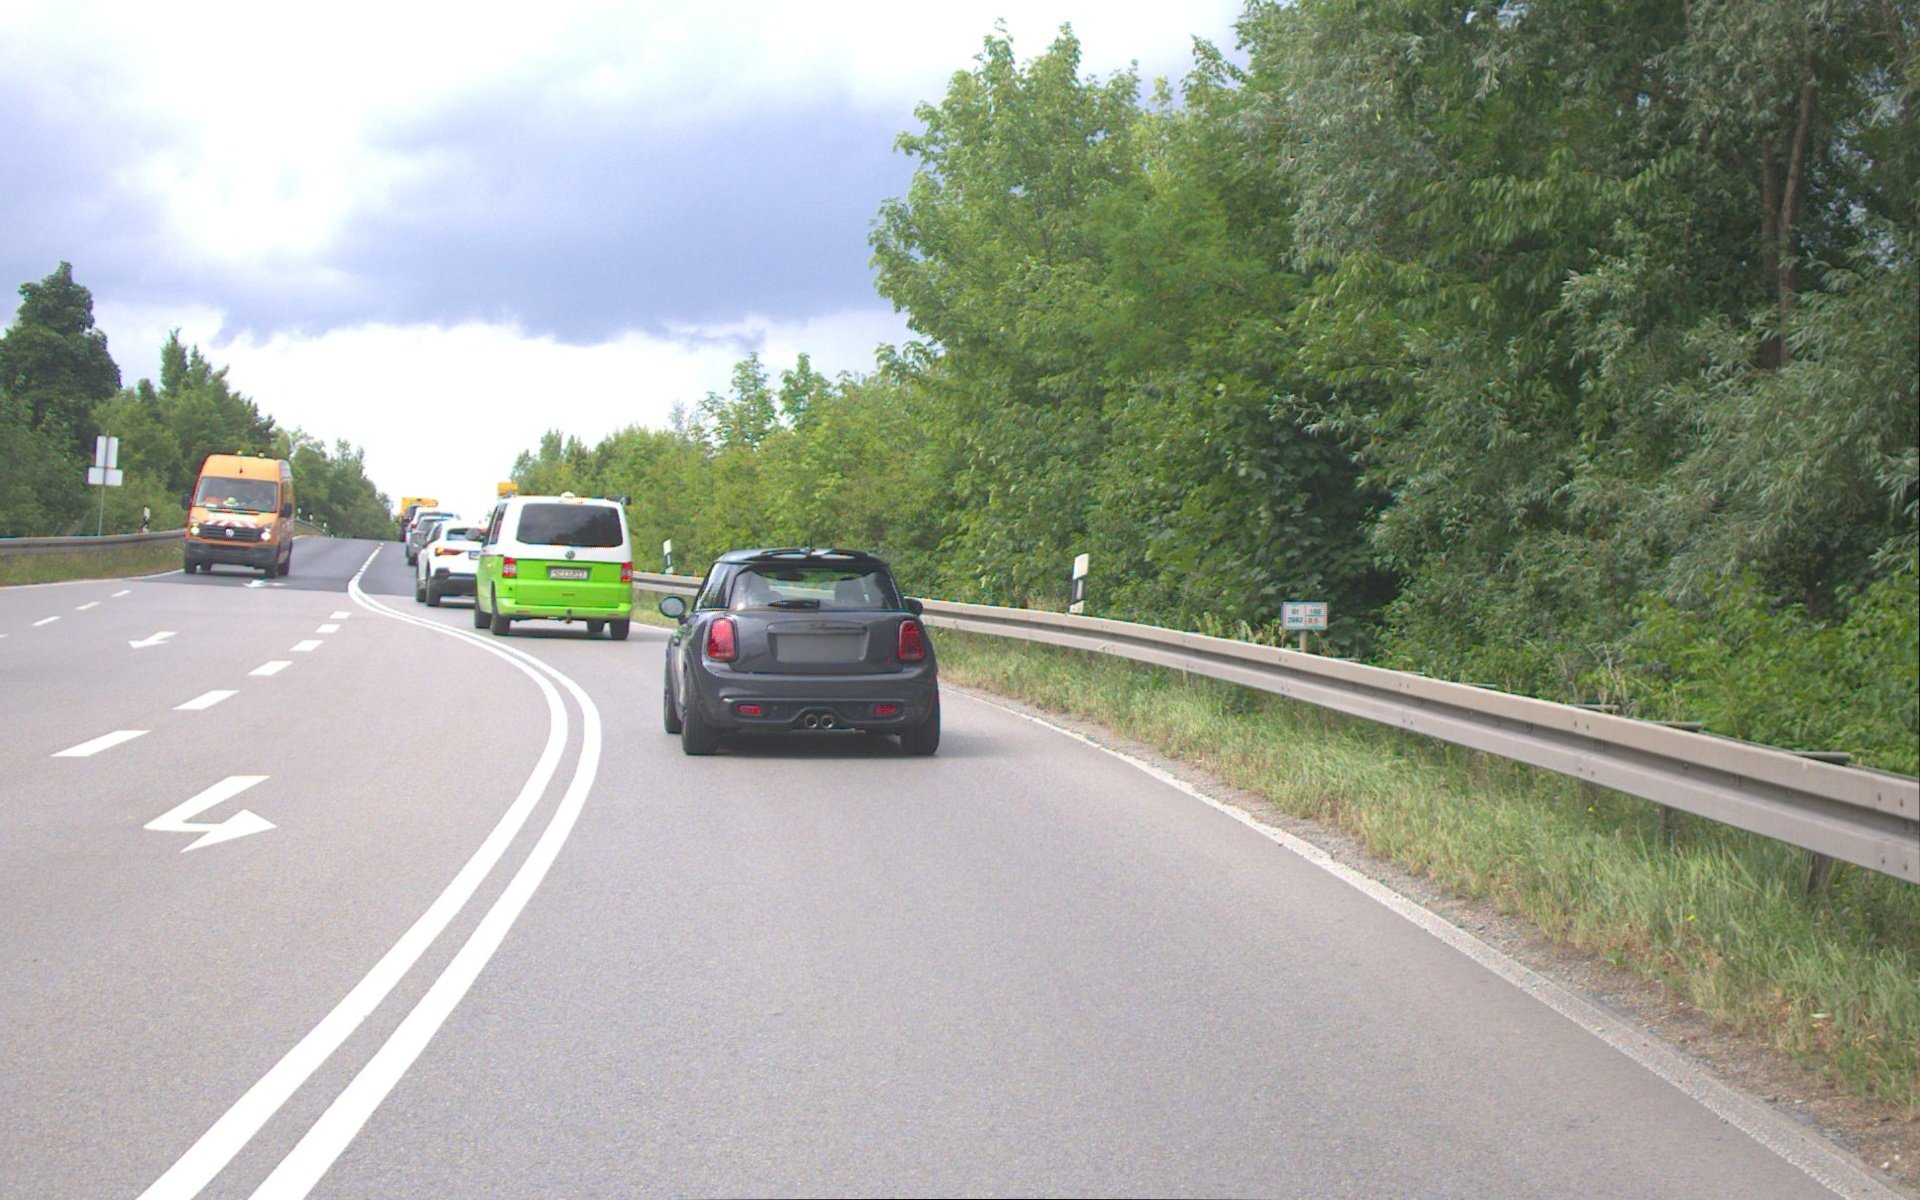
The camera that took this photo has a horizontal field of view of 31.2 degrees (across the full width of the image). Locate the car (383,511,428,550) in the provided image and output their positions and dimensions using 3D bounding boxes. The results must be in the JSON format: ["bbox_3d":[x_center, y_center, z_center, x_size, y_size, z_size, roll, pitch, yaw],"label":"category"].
[{"bbox_3d":[-25.846,-3.223,160.356,1.993,1.792,4.001,1,1,-9],"label":"car"}]

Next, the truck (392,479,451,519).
[{"bbox_3d":[-33.288,-6.207,212.805,2.909,2.364,10.454,1,1,-5],"label":"truck"}]

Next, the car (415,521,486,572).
[{"bbox_3d":[-12.761,-1.356,86.135,1.694,1.218,4.001,0,2,-8],"label":"car"}]

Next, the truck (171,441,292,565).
[{"bbox_3d":[-15.968,-2.141,75.624,2.315,2.592,6.025,1,2,-10],"label":"truck"}]

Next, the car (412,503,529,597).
[{"bbox_3d":[-8.835,-0.921,61.851,1.987,1.613,4.155,0,2,-9],"label":"car"}]

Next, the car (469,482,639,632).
[{"bbox_3d":[-5.767,-0.641,48.470,2.021,2.006,4.001,0,2,-12],"label":"car"}]

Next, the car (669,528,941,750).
[{"bbox_3d":[-1.189,0.217,24.744,1.732,1.451,4.001,0,1,-6],"label":"car"}]
